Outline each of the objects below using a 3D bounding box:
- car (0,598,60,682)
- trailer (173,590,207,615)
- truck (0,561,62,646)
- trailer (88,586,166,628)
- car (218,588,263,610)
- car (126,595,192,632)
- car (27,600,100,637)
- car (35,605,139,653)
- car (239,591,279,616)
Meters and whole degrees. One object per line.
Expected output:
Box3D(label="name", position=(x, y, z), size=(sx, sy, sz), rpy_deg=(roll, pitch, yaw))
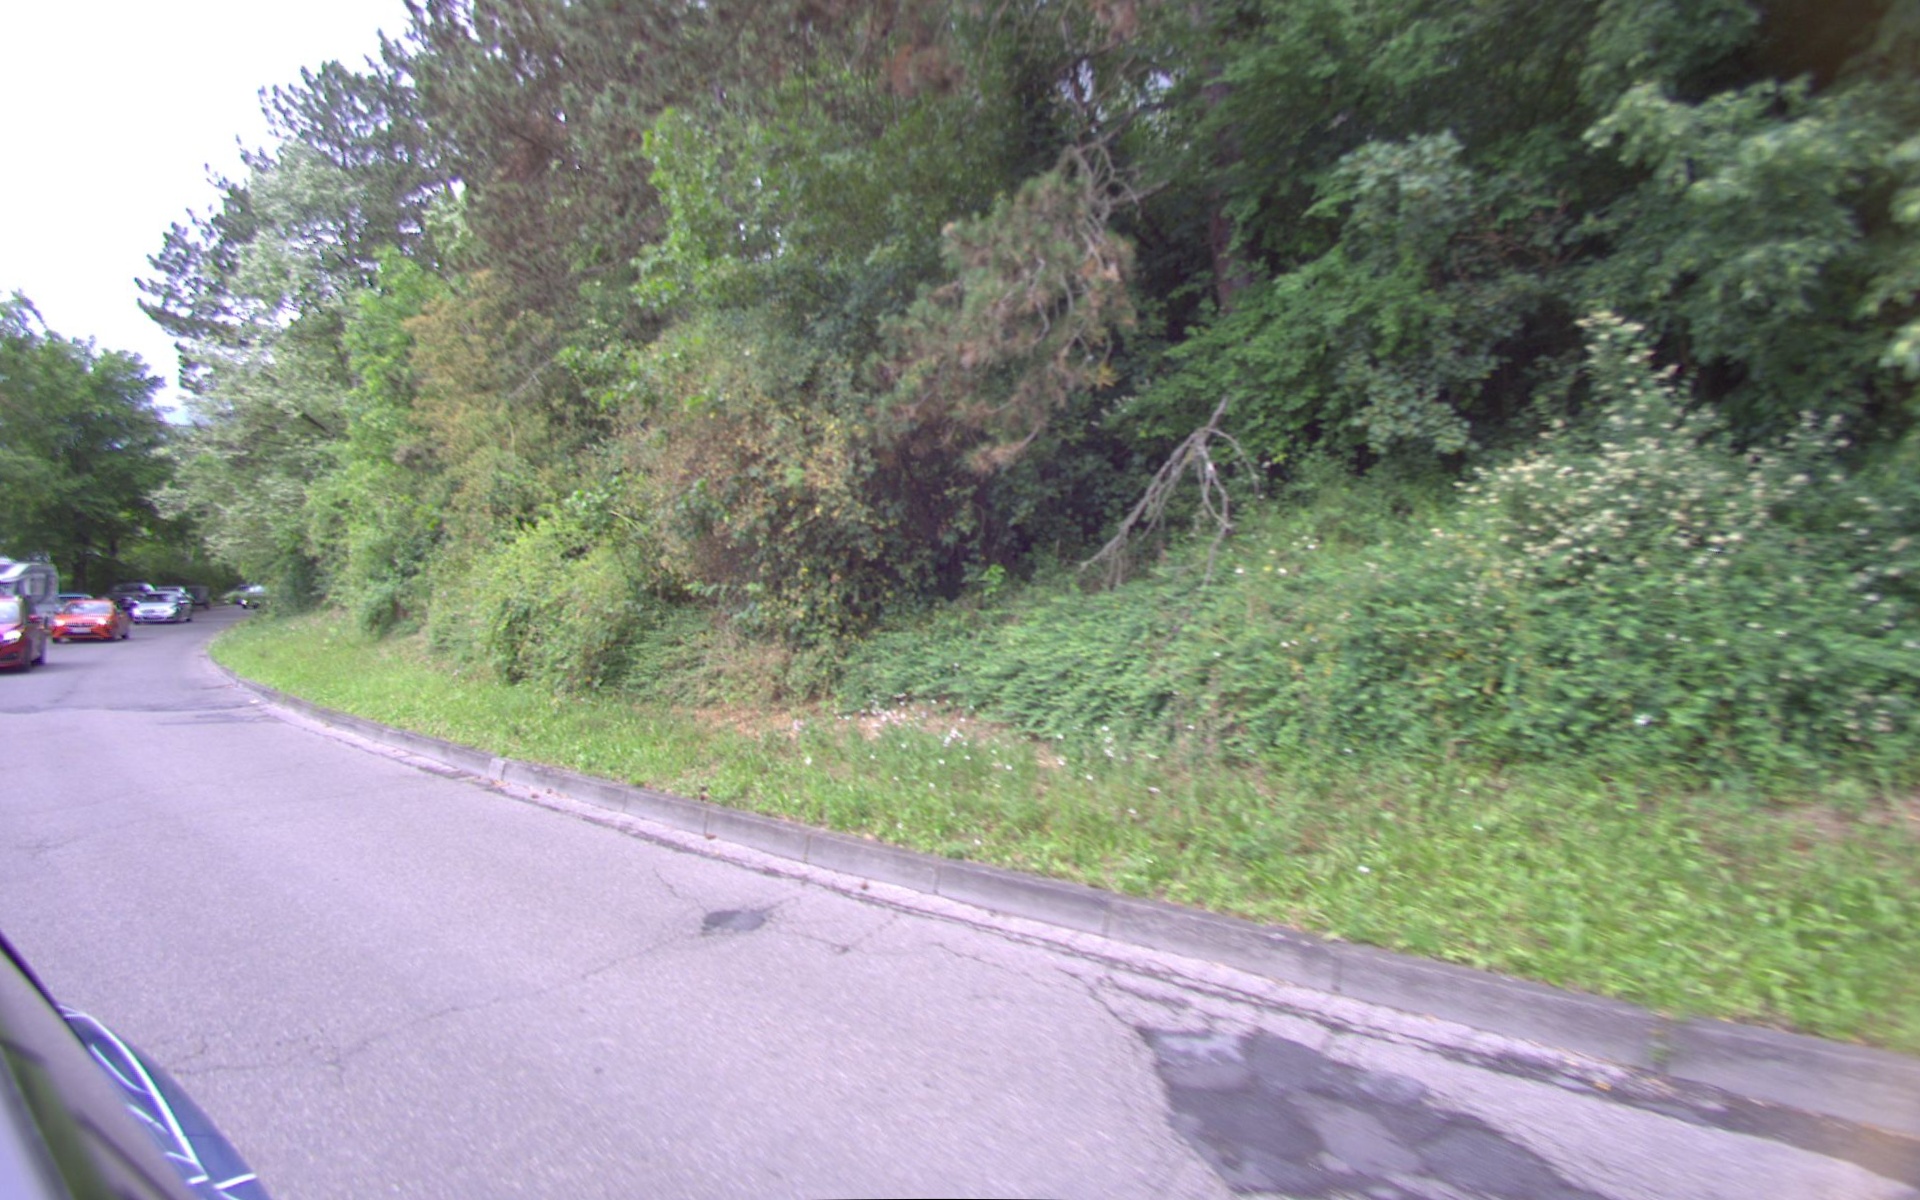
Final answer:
Box3D(label="car", position=(-21.210, 0.824, 21.811), size=(1.966, 1.640, 4.639), rpy_deg=(-2, 1, -33))
Box3D(label="trailer", position=(-51.040, 0.138, 67.140), size=(1.354, 1.616, 2.275), rpy_deg=(-2, 1, -27))
Box3D(label="truck", position=(-36.129, 0.100, 38.009), size=(2.272, 2.955, 7.054), rpy_deg=(0, 0, -31))
Box3D(label="trailer", position=(-45.570, 0.324, 55.491), size=(1.965, 1.947, 5.914), rpy_deg=(-1, 3, -27))
Box3D(label="car", position=(-54.788, -0.119, 77.135), size=(1.836, 1.579, 4.190), rpy_deg=(-2, 1, -21))
Box3D(label="car", position=(-39.363, 0.630, 49.827), size=(1.891, 1.694, 4.013), rpy_deg=(1, 1, -29))
Box3D(label="car", position=(-41.571, 0.819, 46.990), size=(1.671, 1.559, 3.780), rpy_deg=(-1, 2, -28))
Box3D(label="car", position=(-30.528, 0.975, 35.521), size=(1.836, 1.459, 4.189), rpy_deg=(-1, 1, -28))
Box3D(label="car", position=(-48.545, 0.219, 70.142), size=(1.739, 1.528, 4.013), rpy_deg=(-2, 2, -27))
